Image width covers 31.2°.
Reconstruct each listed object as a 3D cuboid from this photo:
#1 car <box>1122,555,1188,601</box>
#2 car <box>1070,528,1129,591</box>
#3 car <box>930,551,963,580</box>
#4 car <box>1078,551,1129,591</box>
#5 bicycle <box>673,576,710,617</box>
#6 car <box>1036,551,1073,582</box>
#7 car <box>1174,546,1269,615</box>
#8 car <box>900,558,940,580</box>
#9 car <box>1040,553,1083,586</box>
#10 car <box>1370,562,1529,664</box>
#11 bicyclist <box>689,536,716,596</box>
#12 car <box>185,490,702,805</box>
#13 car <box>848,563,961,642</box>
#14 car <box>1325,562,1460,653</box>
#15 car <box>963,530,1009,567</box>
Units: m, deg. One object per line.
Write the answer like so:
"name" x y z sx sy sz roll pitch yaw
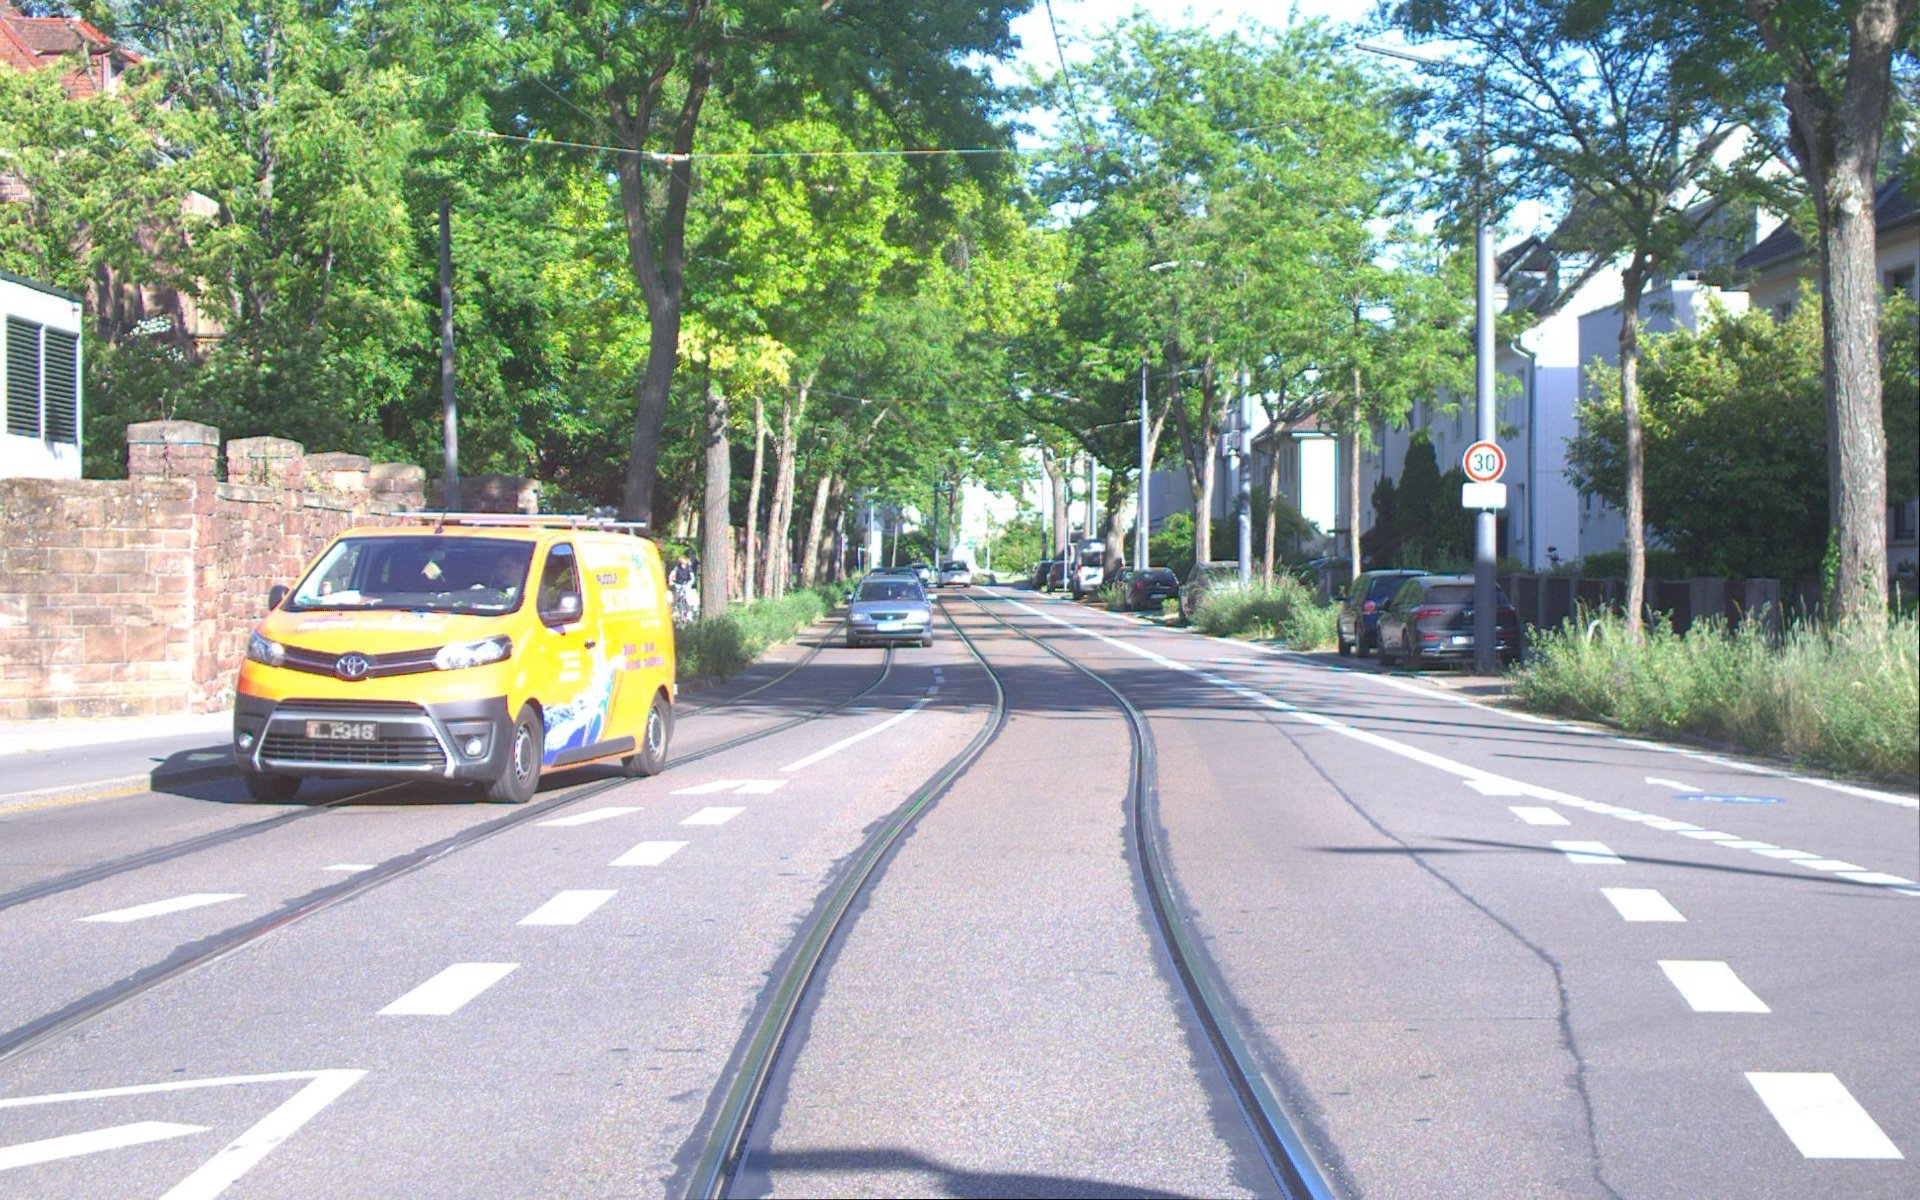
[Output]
"car" 6.673 -0.766 118.209 1.784 1.443 4.301 -3 1 -2
"car" 6.048 -1.760 149.337 2.245 2.645 5.585 0 1 -1
"car" -0.788 -2.030 202.019 1.866 1.669 4.173 -1 1 0
"car" 5.341 -1.093 128.106 1.627 1.393 3.646 -3 1 -1
"bicycle" -6.467 -0.094 82.869 0.711 0.957 2.094 0 1 0
"car" 5.481 -1.939 199.062 2.003 1.669 4.392 -2 1 3
"car" 6.961 -0.547 91.797 1.993 1.698 4.478 -3 1 -2
"car" -2.935 -2.289 252.763 2.002 1.555 4.393 -1 1 -13
"car" 5.343 -1.611 181.559 2.003 1.669 4.392 -2 1 -1
"car" 7.546 0.169 53.388 1.748 1.490 4.443 -1 1 -1
"bicyclist" -6.549 -0.872 87.352 0.593 1.522 1.061 0 1 0
"car" -3.439 0.264 24.024 1.994 1.959 4.931 0 1 12
"car" -1.091 0.025 69.277 1.994 1.519 4.579 0 1 3
"car" 7.420 0.101 59.325 1.748 1.490 3.997 -1 1 -1
"car" 1.702 -3.391 227.666 1.993 2.450 4.510 -1 1 -14
